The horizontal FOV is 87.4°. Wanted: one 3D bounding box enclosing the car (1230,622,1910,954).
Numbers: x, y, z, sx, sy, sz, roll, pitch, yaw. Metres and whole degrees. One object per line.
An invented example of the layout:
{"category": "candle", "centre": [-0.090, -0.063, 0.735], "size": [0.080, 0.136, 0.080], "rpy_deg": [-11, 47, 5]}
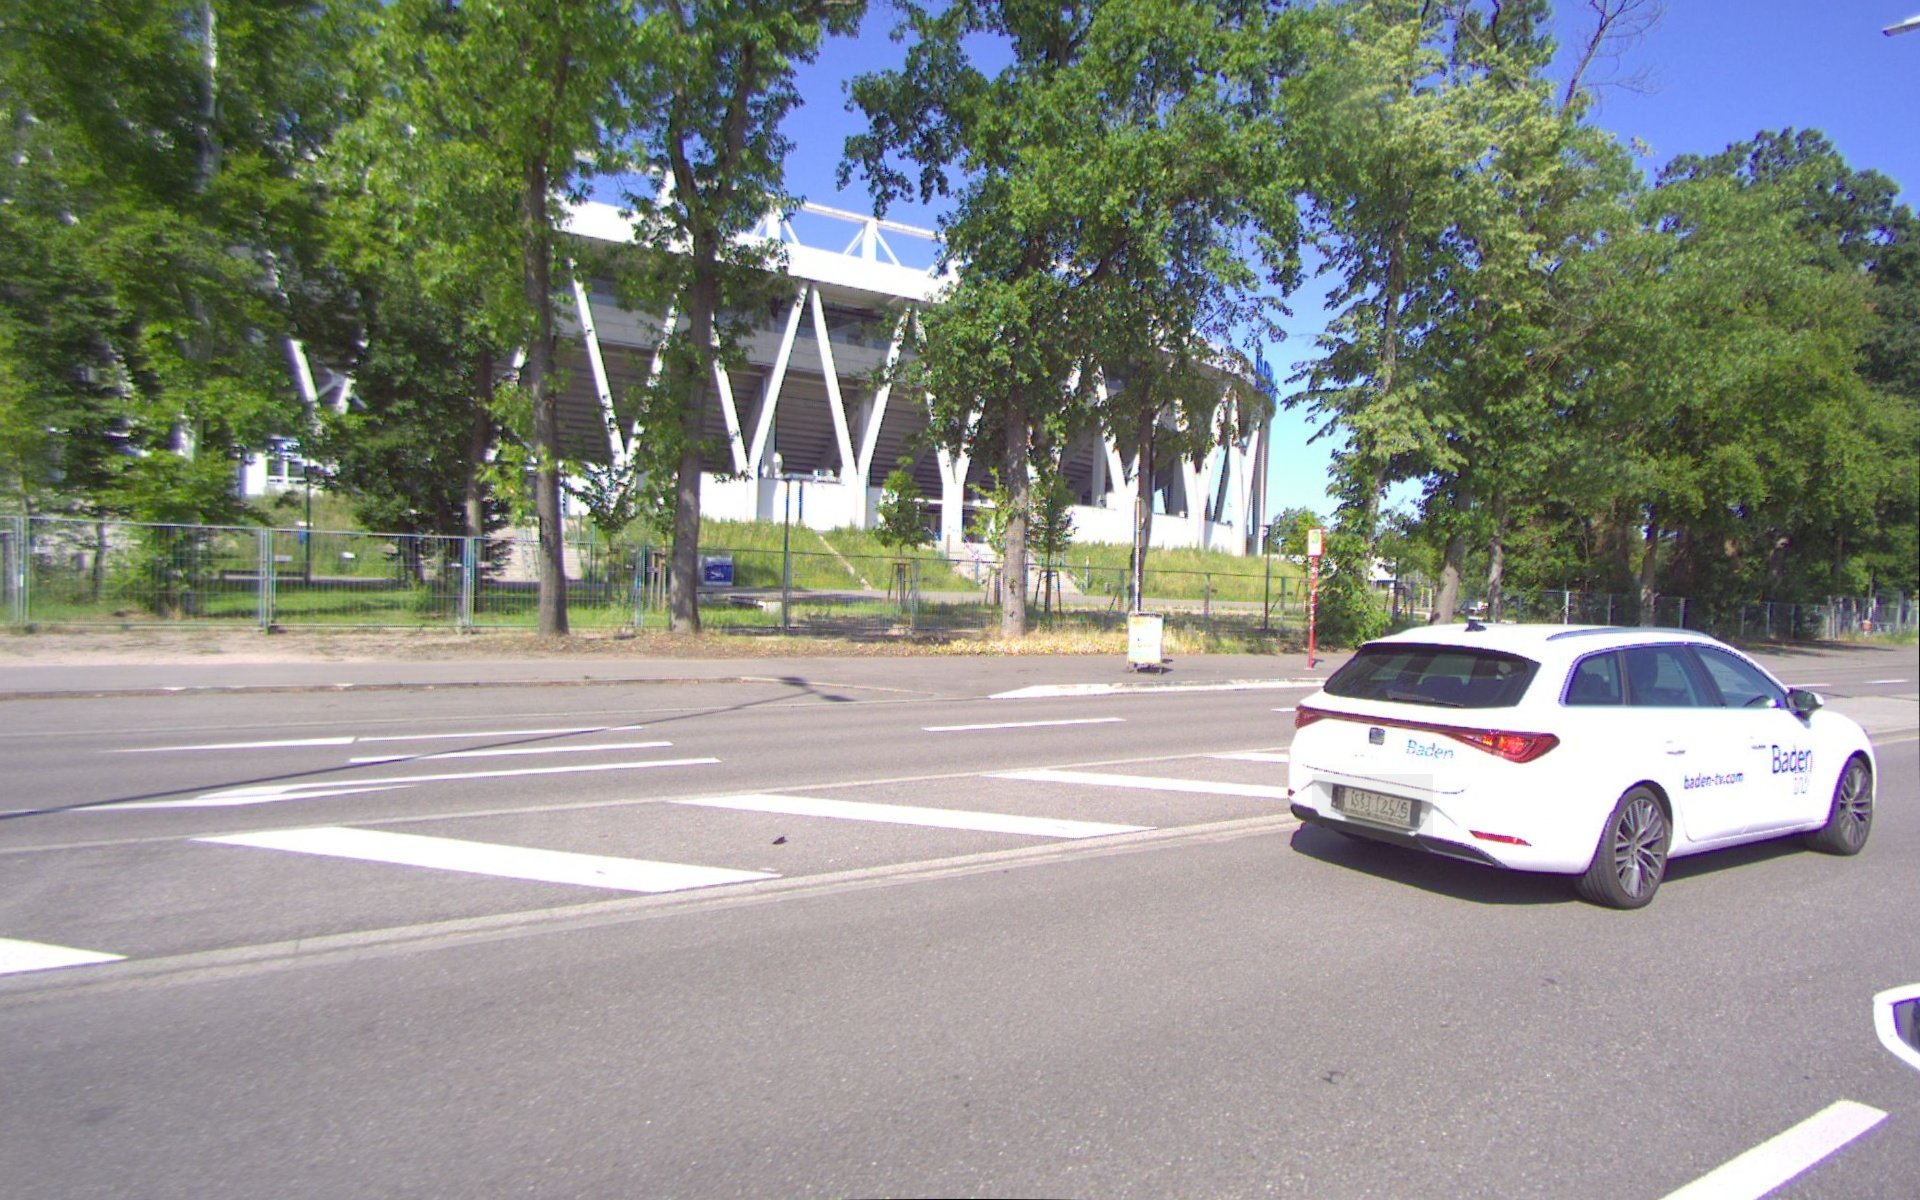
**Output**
{"category": "car", "centre": [4.054, 0.902, 6.437], "size": [4.664, 1.446, 1.717], "rpy_deg": [1, 0, -30]}
